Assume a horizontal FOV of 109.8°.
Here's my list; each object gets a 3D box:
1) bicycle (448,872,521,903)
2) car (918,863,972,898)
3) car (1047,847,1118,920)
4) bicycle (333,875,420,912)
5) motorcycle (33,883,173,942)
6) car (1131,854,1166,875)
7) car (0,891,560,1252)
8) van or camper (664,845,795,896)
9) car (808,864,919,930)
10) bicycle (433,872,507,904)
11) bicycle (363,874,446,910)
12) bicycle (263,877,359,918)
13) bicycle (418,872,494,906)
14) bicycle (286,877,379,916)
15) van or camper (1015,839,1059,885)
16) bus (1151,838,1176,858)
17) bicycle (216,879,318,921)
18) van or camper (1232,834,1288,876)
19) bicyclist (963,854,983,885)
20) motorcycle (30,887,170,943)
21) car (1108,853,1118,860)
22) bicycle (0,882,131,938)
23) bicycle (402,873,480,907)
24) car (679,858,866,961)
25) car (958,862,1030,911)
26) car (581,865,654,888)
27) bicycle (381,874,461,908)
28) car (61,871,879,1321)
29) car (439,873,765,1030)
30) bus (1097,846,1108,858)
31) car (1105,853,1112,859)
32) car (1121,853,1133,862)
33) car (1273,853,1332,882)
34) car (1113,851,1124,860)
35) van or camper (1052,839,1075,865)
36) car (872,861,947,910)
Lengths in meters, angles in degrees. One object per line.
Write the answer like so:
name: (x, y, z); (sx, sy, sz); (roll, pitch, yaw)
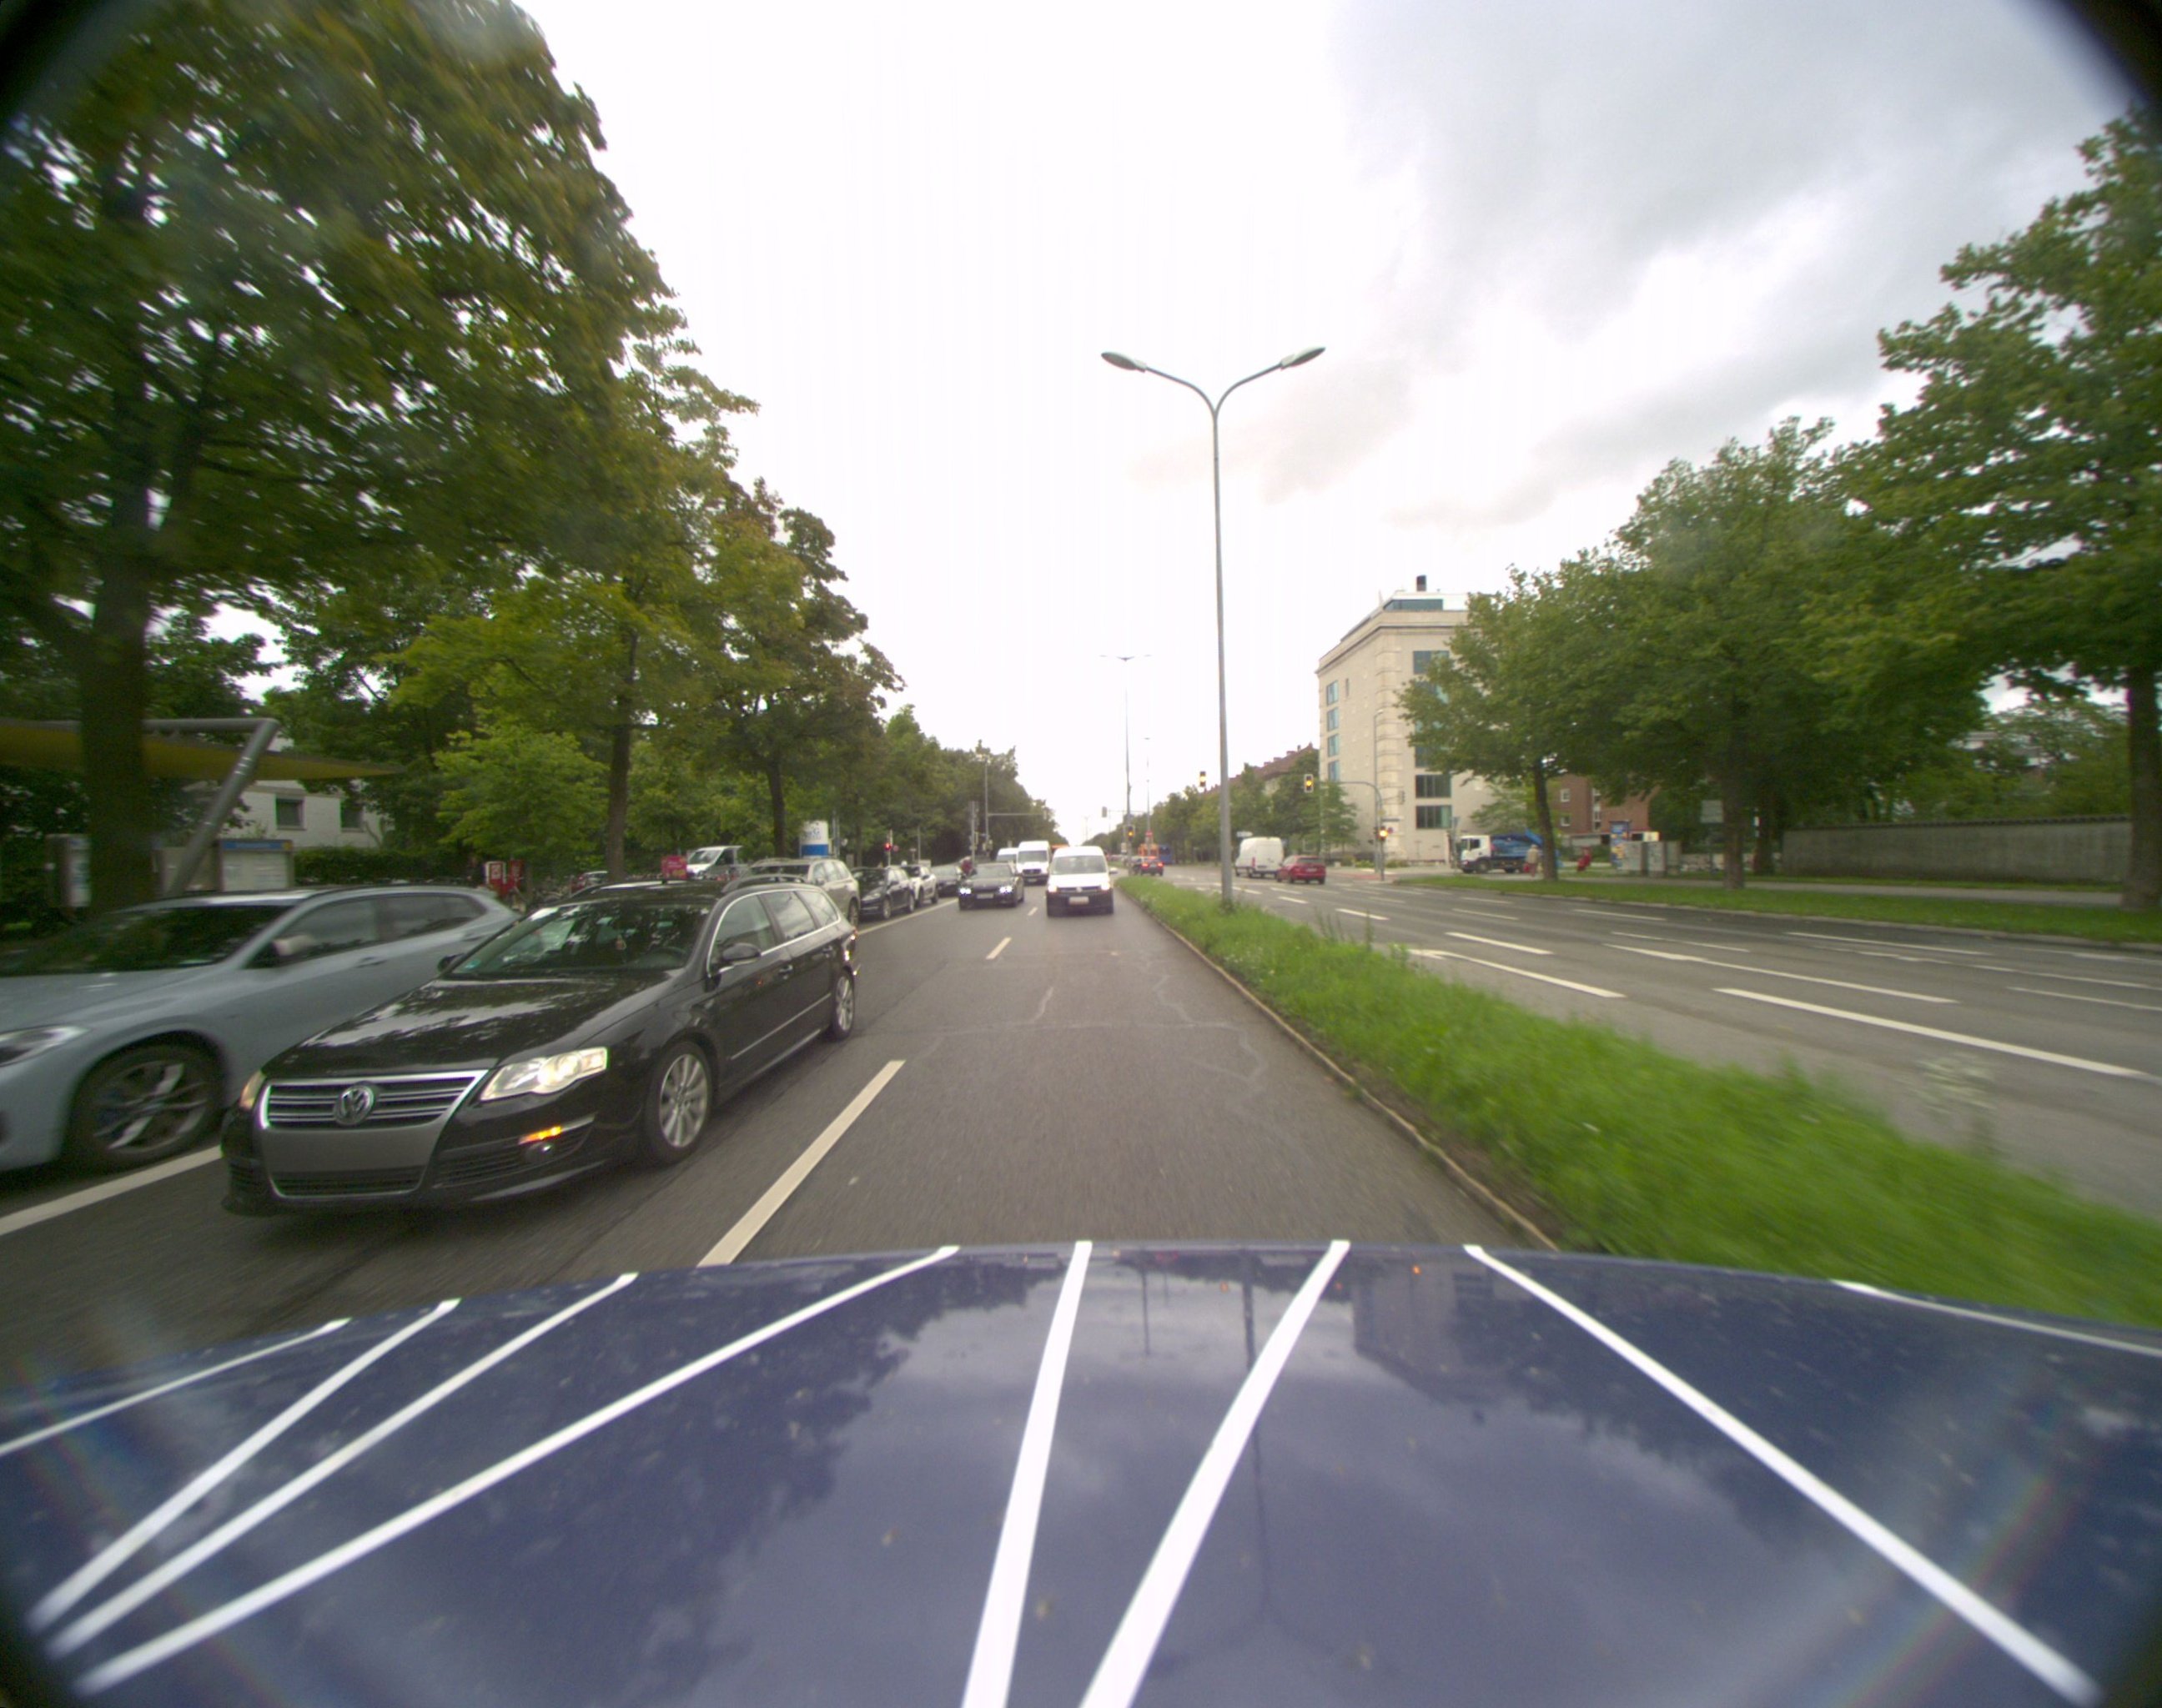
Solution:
bicycle: (-22.767, 1.270, 29.000); (2.344, 1.151, 0.529); (1, 0, 0)
car: (-6.127, 1.155, 34.690); (1.715, 1.352, 4.620); (-3, 0, -1)
car: (-0.012, 0.729, 21.407); (1.752, 1.809, 4.670); (-1, 0, -1)
bicycle: (-22.948, 1.290, 24.760); (2.344, 1.151, 0.529); (1, 0, 0)
motorcycle: (-21.950, 1.278, 17.104); (0.657, 1.170, 1.817); (-1, 0, 26)
car: (4.942, 0.726, 56.090); (1.645, 1.478, 3.777); (-1, 0, -11)
car: (-6.059, 1.162, 5.324); (1.725, 1.525, 4.399); (-1, 0, 0)
van or camper: (-17.167, 0.720, 37.575); (2.144, 2.283, 6.207); (-1, 0, 18)
car: (-5.967, 1.109, 21.454); (1.752, 1.538, 4.642); (-2, 0, 0)
bicycle: (-22.843, 1.275, 28.407); (2.344, 1.151, 0.529); (1, 0, 0)
bicycle: (-22.967, 1.288, 25.817); (2.344, 1.151, 0.529); (1, 0, 0)
bicycle: (-23.221, 1.308, 22.930); (2.344, 1.151, 0.529); (1, 0, 0)
bicycle: (-22.855, 1.277, 27.816); (2.344, 1.151, 0.529); (1, 0, 0)
bicycle: (-23.153, 1.303, 23.523); (2.344, 1.151, 0.529); (1, 0, 0)
van or camper: (-2.576, 0.420, 46.380); (2.183, 2.546, 7.074); (-1, 0, 1)
bus: (14.348, -1.016, 132.666); (2.752, 3.324, 12.047); (0, 0, -1)
bicycle: (-23.476, 1.322, 21.927); (2.344, 1.151, 0.529); (1, 0, 0)
van or camper: (11.868, 0.057, 51.003); (2.183, 2.631, 6.951); (1, 0, 1)
bicyclist: (-6.281, 0.908, 44.233); (0.829, 1.754, 0.744); (-2, 1, -35)
motorcycle: (-21.250, 1.301, 16.520); (0.657, 1.056, 1.817); (-1, 0, 39)
car: (6.937, 0.469, 167.318); (1.931, 1.453, 4.897); (1, 0, -1)
bicycle: (-24.130, 1.284, 17.874); (0.528, 1.151, 2.346); (1, 0, 3)
bicycle: (-22.914, 1.281, 27.231); (2.344, 1.151, 0.529); (1, 0, 0)
car: (-6.057, 0.976, 15.666); (1.752, 1.714, 4.906); (-2, 0, 1)
car: (-2.844, 1.021, 25.807); (1.819, 1.421, 4.671); (-1, 0, 1)
car: (-31.976, 1.536, 52.508); (3.947, 1.445, 1.627); (-1, 1, -2)
bicycle: (-23.037, 1.289, 26.541); (2.344, 1.151, 0.529); (1, 0, 0)
car: (-2.852, 0.938, 5.129); (1.752, 1.466, 4.670); (-2, 0, -1)
car: (-6.228, 1.134, 10.668); (1.706, 1.499, 4.503); (-4, 0, -1)
bus: (6.426, -0.564, 228.092); (2.752, 3.324, 12.271); (0, 0, -2)
car: (7.459, 0.501, 204.884); (1.702, 1.560, 4.290); (-1, 0, -2)
car: (7.810, 0.550, 128.597); (1.732, 1.478, 4.742); (-1, 0, 0)
car: (11.627, 0.681, 40.226); (1.747, 1.443, 4.657); (1, 0, 0)
car: (7.105, 0.280, 142.974); (1.867, 1.533, 4.749); (2, 0, 1)
van or camper: (-2.317, -0.258, 102.113); (2.780, 3.219, 7.074); (-1, 0, 1)
car: (-6.146, 1.083, 27.693); (1.717, 1.538, 4.381); (-1, 0, -1)
